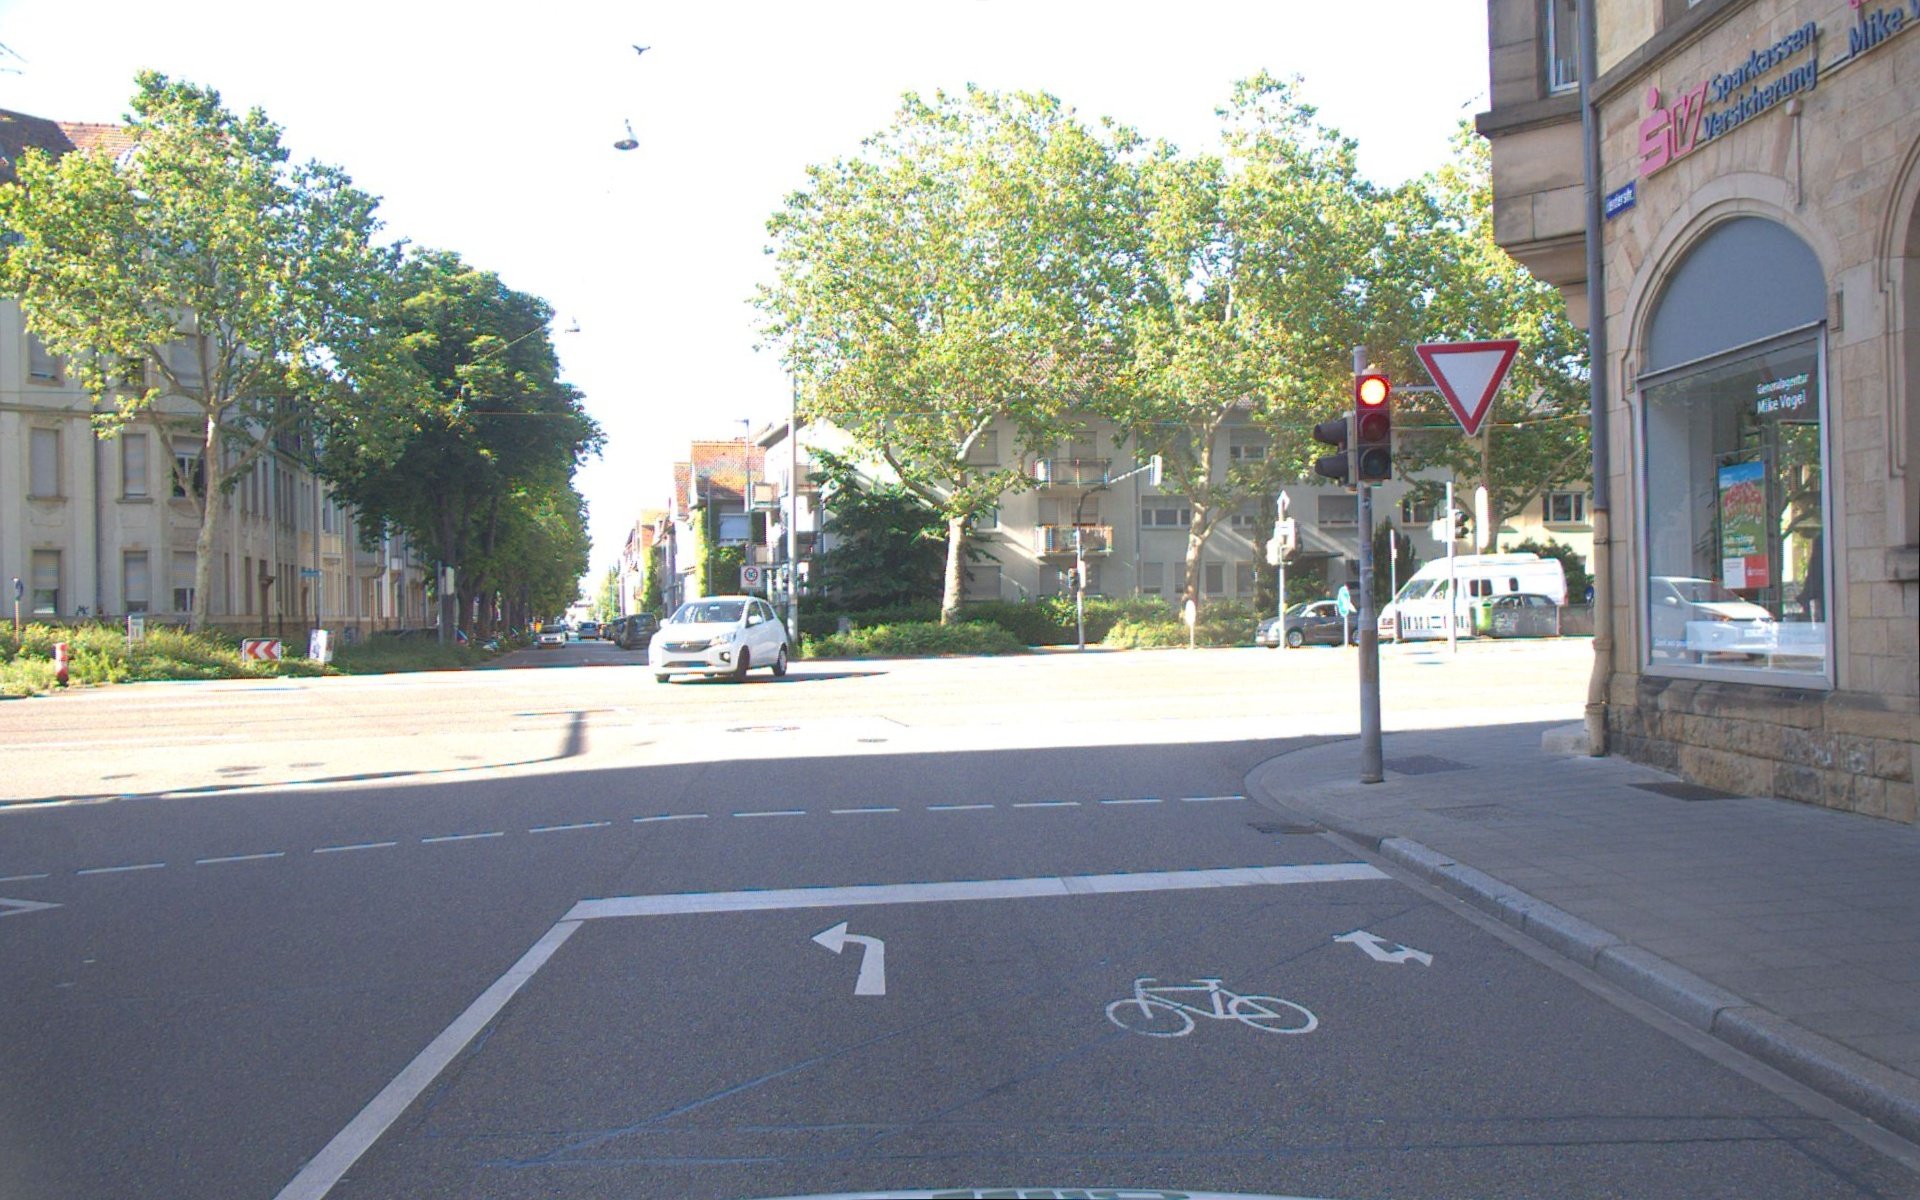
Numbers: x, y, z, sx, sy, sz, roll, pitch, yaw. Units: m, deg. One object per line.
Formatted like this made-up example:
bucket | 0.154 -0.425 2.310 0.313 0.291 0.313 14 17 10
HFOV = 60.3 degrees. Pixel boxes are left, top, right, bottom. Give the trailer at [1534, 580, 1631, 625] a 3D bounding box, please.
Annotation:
trailer | 19.729 0.067 52.457 2.699 1.334 1.263 -2 0 -20

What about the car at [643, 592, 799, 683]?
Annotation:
car | -4.262 0.640 30.076 1.590 1.498 3.803 -2 0 11

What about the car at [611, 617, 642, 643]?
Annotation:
car | -25.210 2.254 124.940 1.961 1.865 3.982 0 -1 -16

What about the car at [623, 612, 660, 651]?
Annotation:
car | -18.133 1.770 94.421 1.957 2.049 3.990 -2 0 -10

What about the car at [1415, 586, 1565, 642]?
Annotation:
car | 15.387 0.380 48.035 3.925 1.476 1.651 -2 0 -18

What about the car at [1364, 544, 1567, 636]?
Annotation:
car | 15.595 -0.328 51.039 5.949 2.613 1.989 -2 0 -19

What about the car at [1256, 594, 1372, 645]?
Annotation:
car | 11.291 0.603 52.751 3.333 1.513 1.514 -2 0 -23

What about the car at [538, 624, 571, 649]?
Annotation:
car | -25.968 2.308 105.969 1.960 1.471 3.984 -2 0 -15

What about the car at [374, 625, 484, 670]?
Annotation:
car | -20.376 1.805 63.522 3.928 1.512 1.672 -2 0 -20

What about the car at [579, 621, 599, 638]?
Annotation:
car | -33.981 2.710 151.572 1.644 1.509 3.512 0 -1 -11
